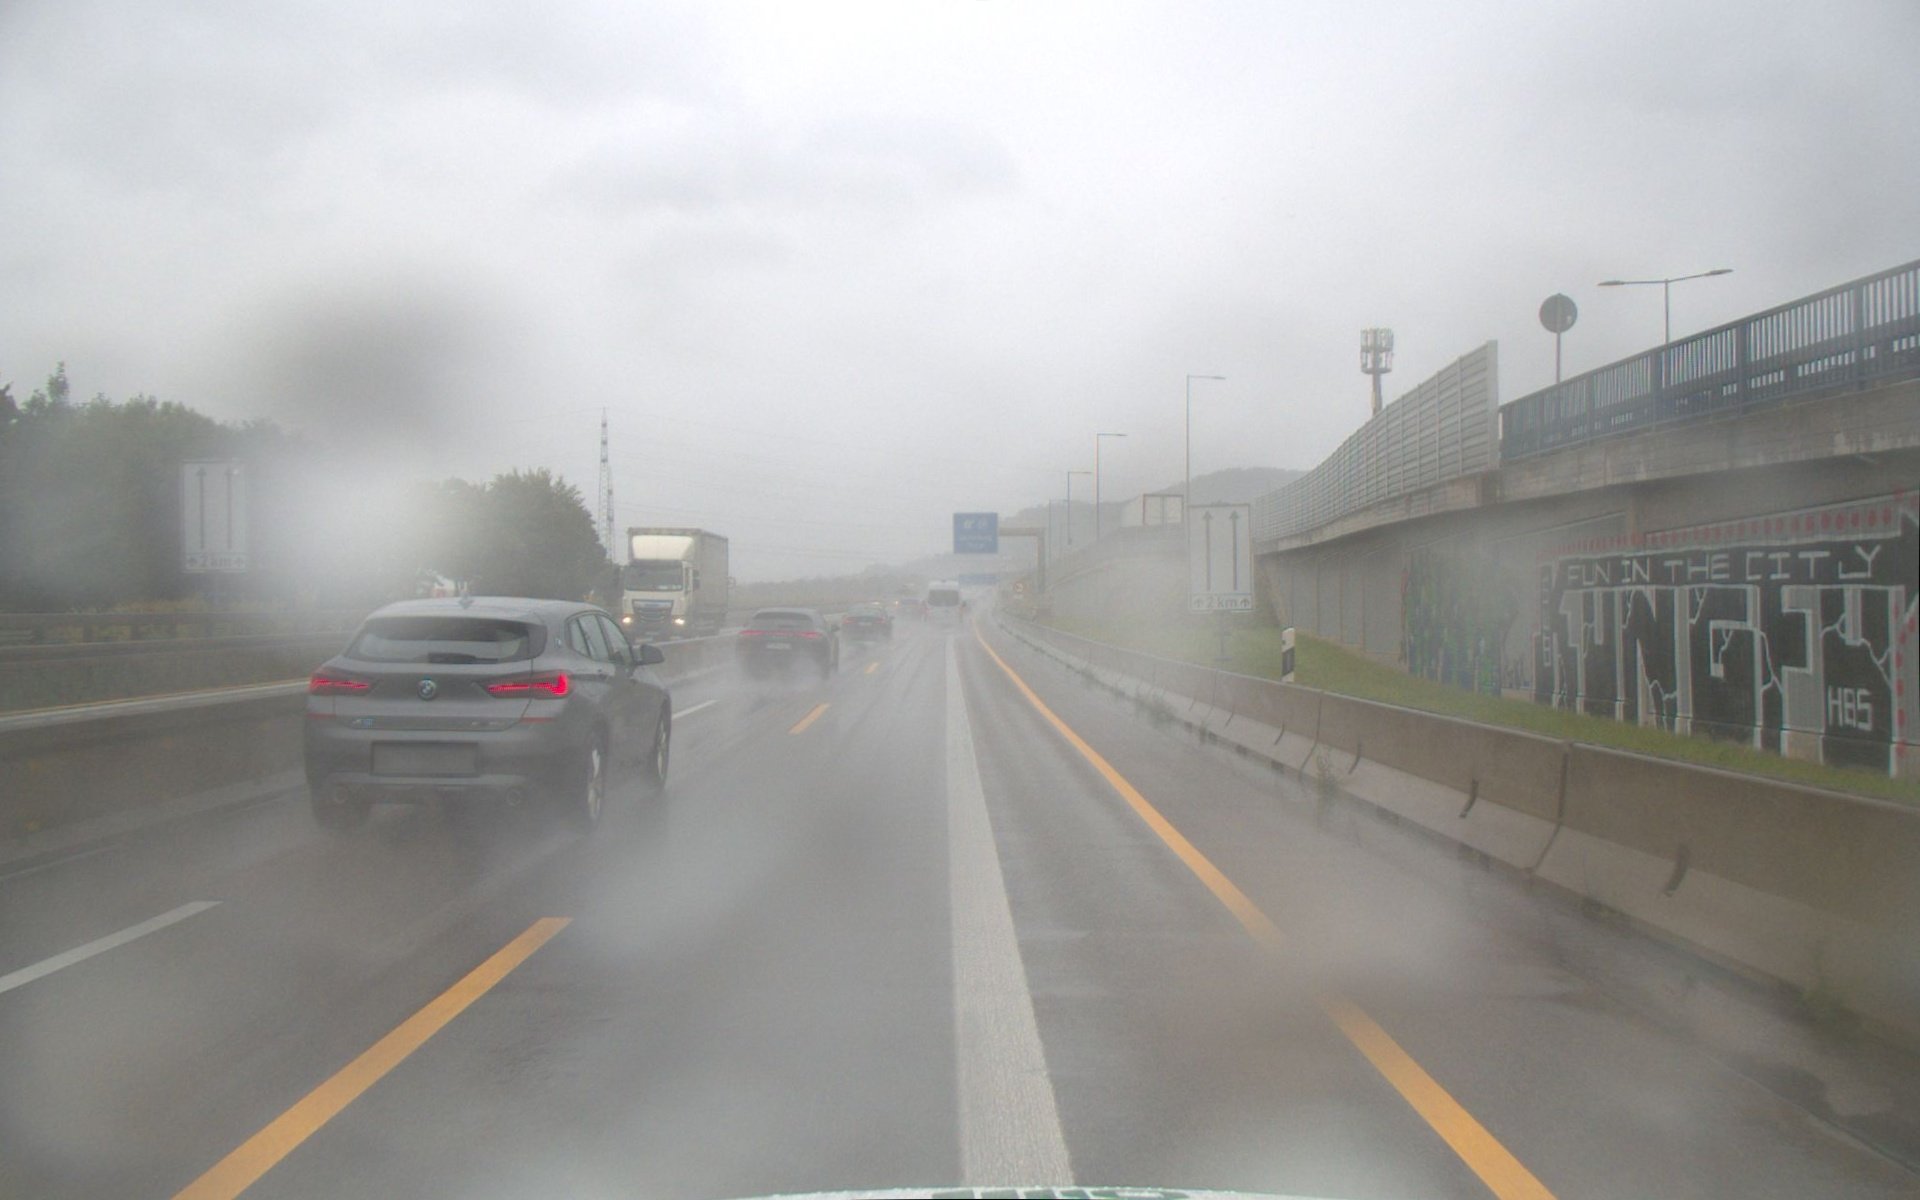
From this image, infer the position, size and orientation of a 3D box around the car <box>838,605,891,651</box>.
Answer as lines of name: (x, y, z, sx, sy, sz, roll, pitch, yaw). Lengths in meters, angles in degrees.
car: (-3.446, 0.990, 60.298, 1.807, 1.517, 4.259, -2, 0, -3)

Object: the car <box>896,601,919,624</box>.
car: (-3.670, 0.919, 116.339, 1.535, 1.506, 2.820, -2, -2, -3)

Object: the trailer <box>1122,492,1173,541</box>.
trailer: (12.306, -5.429, 109.586, 1.952, 2.143, 13.768, 1, -1, 1)

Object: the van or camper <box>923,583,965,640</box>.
van or camper: (-0.826, 0.636, 84.640, 1.956, 2.826, 4.047, 1, -1, -3)

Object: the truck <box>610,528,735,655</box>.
truck: (-10.300, -0.168, 60.248, 2.943, 4.239, 9.828, 0, -1, -1)

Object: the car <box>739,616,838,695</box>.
car: (-3.542, 1.147, 34.809, 1.807, 1.517, 4.259, 1, -1, -3)

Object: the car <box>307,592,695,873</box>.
car: (-3.081, 0.836, 12.157, 1.667, 1.626, 4.842, 1, -1, -3)
